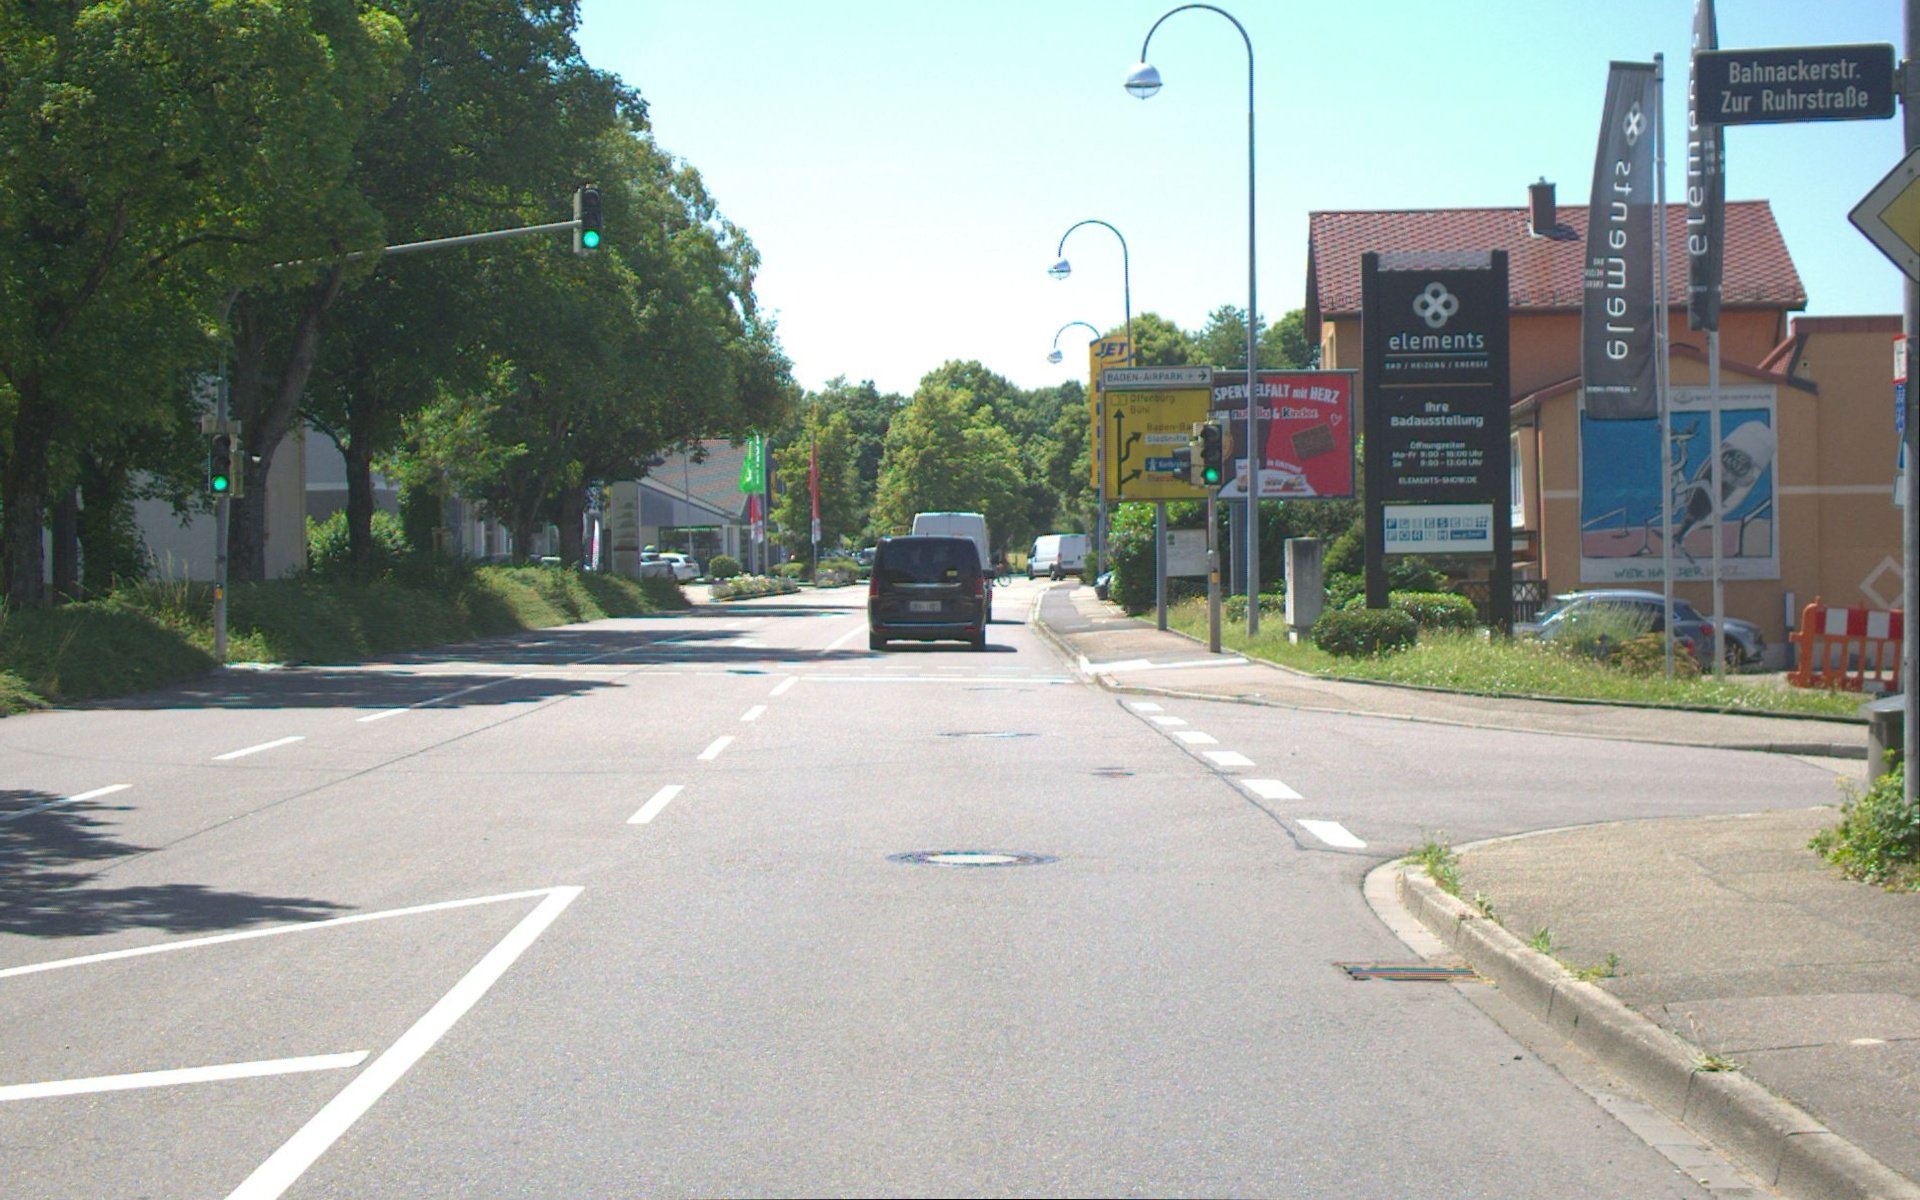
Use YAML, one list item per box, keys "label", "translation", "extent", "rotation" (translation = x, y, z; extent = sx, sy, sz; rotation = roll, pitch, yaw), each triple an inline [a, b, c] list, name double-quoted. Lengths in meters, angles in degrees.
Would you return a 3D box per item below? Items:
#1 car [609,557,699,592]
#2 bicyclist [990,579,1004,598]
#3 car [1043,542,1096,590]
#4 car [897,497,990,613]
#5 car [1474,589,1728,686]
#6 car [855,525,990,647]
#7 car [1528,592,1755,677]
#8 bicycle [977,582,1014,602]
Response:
- label: "car"
  translation: [-14.972, -1.258, 168.363]
  extent: [3.989, 1.656, 1.999]
  rotation: [1, 1, 11]
- label: "bicyclist"
  translation: [1.756, -0.533, 162.389]
  extent: [0.468, 0.850, 0.558]
  rotation: [-2, 3, -23]
- label: "car"
  translation: [6.073, -1.896, 190.904]
  extent: [2.352, 2.538, 4.957]
  rotation: [0, 1, -5]
- label: "car"
  translation: [-0.358, -1.101, 82.302]
  extent: [2.120, 2.668, 5.662]
  rotation: [0, 1, 0]
- label: "car"
  translation: [11.583, 0.664, 62.298]
  extent: [4.272, 1.641, 1.890]
  rotation: [1, 1, 2]
- label: "car"
  translation: [-0.649, -0.266, 55.668]
  extent: [1.993, 1.887, 4.001]
  rotation: [0, 1, -3]
- label: "car"
  translation: [13.422, 0.666, 67.912]
  extent: [4.260, 1.593, 1.889]
  rotation: [0, 1, 8]
- label: "bicycle"
  translation: [1.675, -0.392, 162.354]
  extent: [1.715, 0.884, 0.558]
  rotation: [-1, 3, -6]
